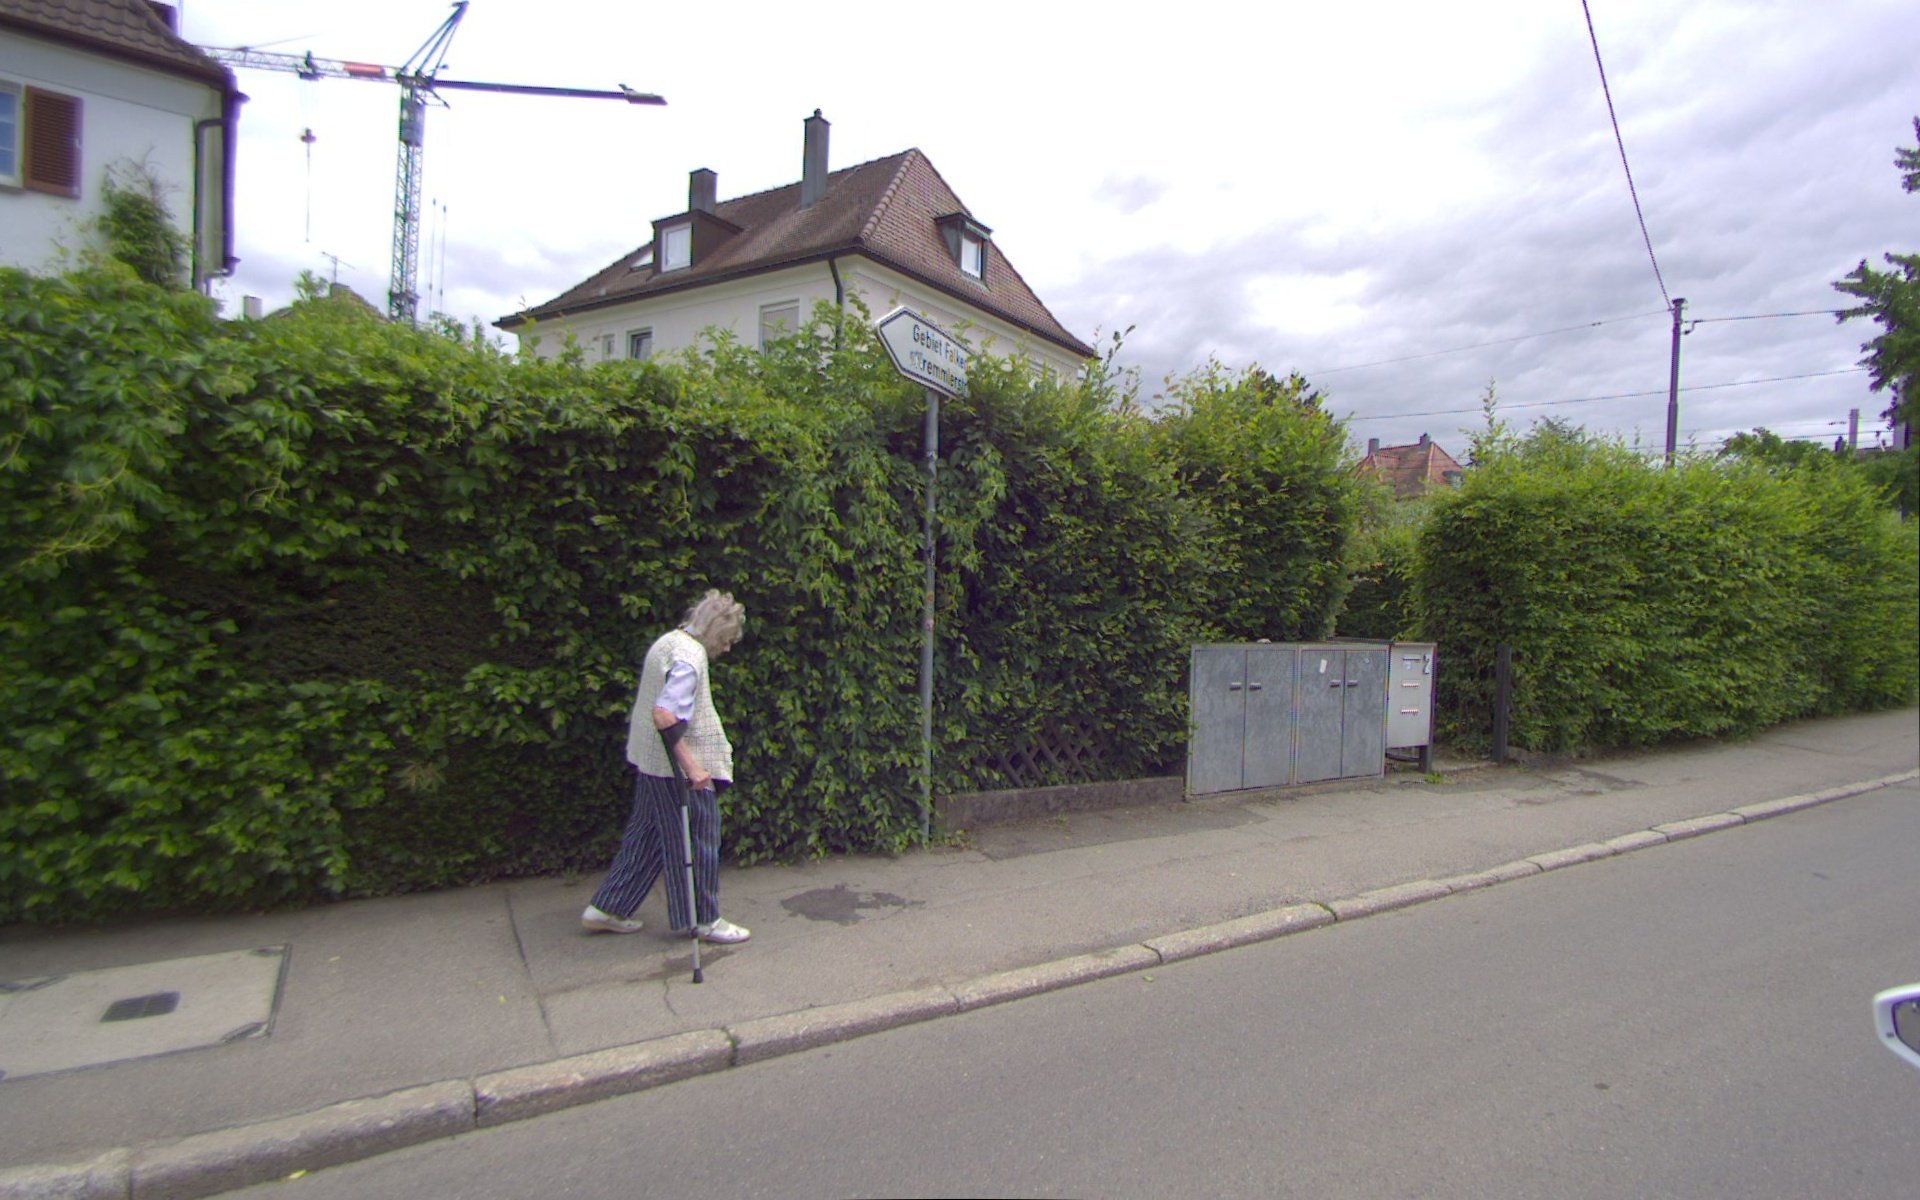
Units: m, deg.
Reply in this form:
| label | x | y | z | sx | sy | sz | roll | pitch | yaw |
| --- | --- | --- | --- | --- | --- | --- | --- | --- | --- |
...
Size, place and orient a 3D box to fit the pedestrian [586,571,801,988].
| label | x | y | z | sx | sy | sz | roll | pitch | yaw |
| --- | --- | --- | --- | --- | --- | --- | --- | --- | --- |
| pedestrian | -1.131 | 0.672 | 4.216 | 0.541 | 1.551 | 0.739 | 0 | 3 | -45 |
